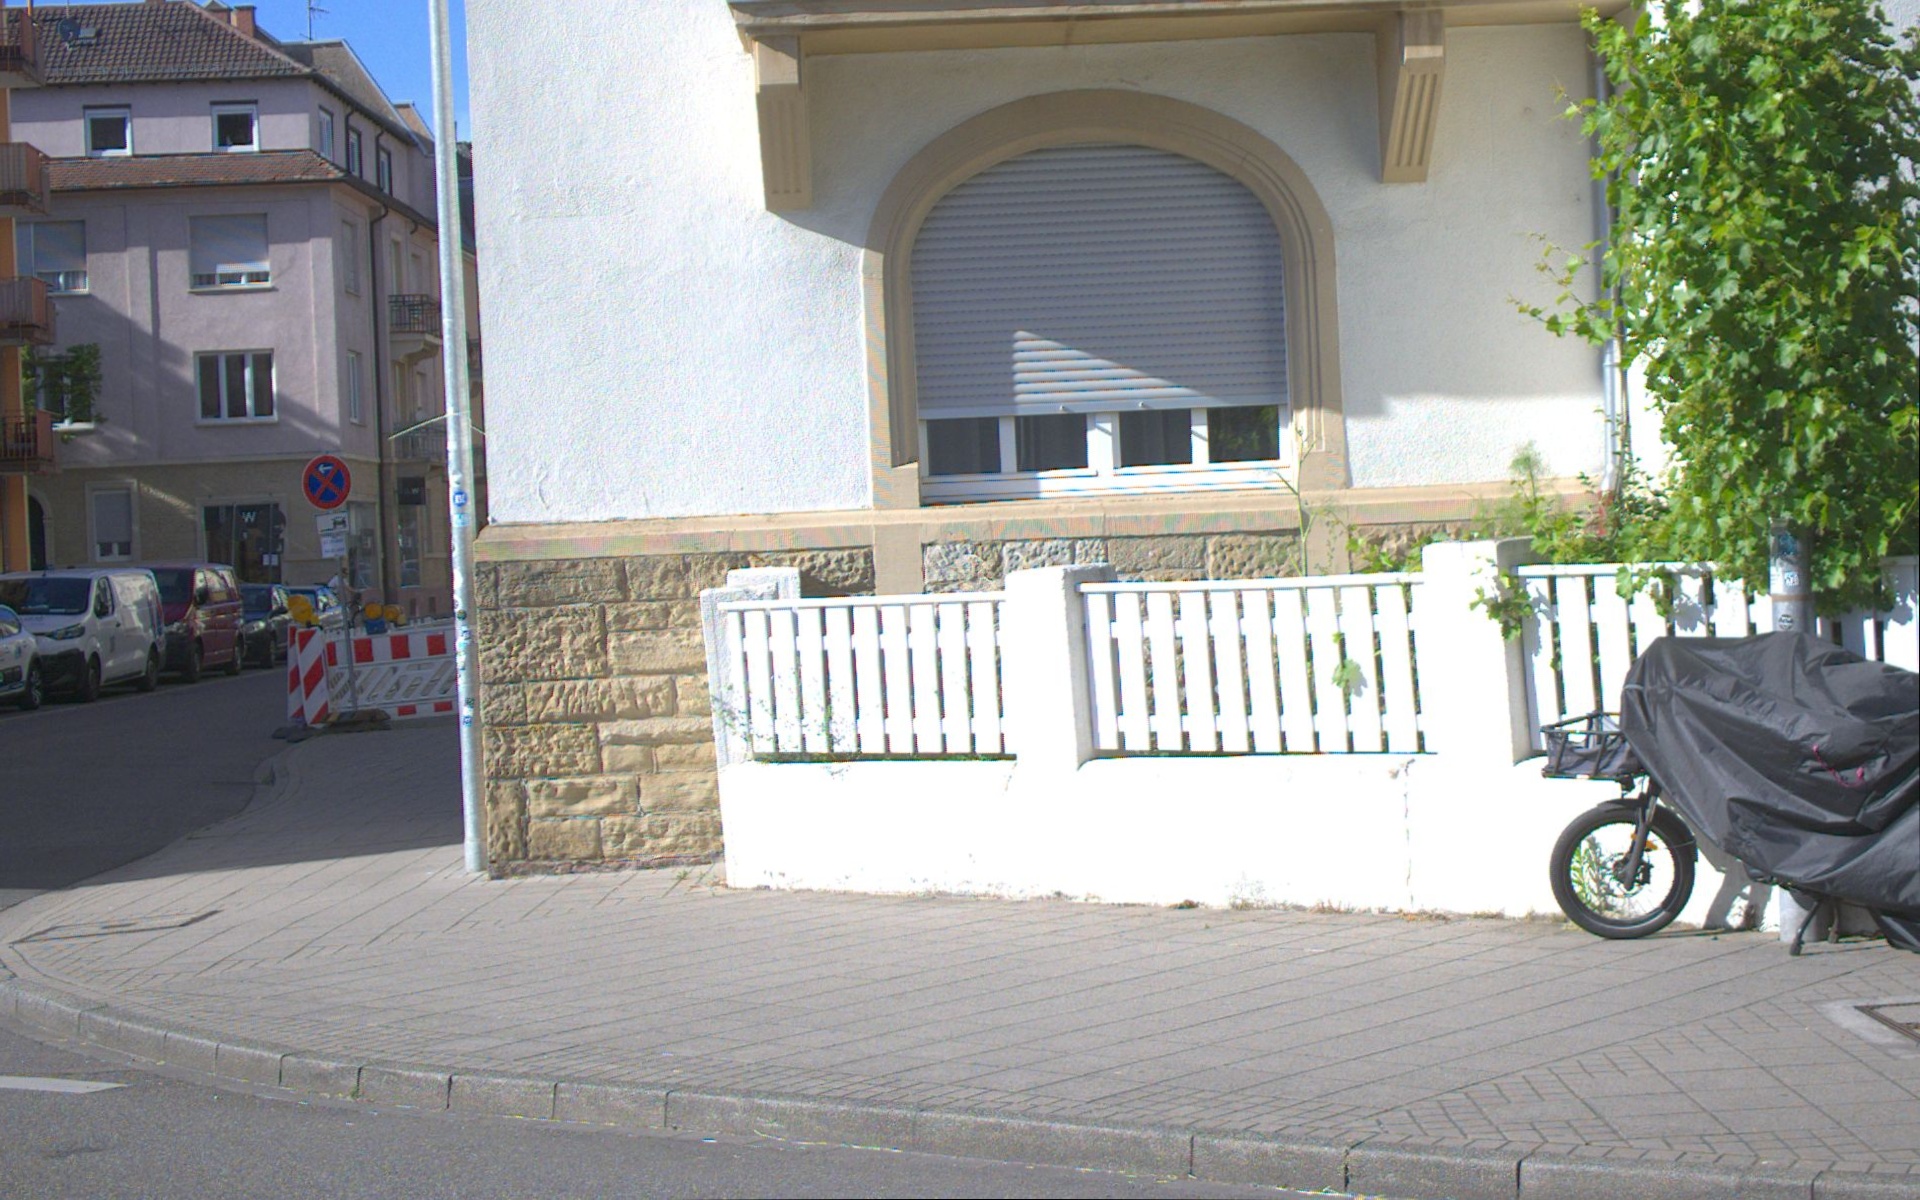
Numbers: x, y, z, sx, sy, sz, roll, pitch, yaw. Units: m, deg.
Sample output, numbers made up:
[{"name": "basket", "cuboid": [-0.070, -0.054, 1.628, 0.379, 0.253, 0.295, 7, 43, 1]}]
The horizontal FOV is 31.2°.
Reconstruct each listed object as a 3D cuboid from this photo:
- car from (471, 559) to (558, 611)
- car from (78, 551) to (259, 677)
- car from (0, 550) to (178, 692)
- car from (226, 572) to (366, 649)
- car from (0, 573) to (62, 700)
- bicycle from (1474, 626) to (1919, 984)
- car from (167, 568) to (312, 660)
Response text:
[{"name": "car", "cuboid": [-12.324, -0.419, 95.293, 1.679, 1.421, 4.273, 0, 0, 3]}, {"name": "car", "cuboid": [-13.044, 0.187, 56.924, 1.762, 1.918, 4.935, -1, 1, 1]}, {"name": "car", "cuboid": [-13.134, 0.260, 50.537, 1.975, 1.918, 5.309, -1, 1, 1]}, {"name": "car", "cuboid": [-13.035, 0.176, 67.711, 1.763, 1.373, 4.478, -1, 1, 1]}, {"name": "car", "cuboid": [-13.313, 0.493, 45.265, 1.762, 1.615, 4.295, -1, 1, 1]}, {"name": "bicycle", "cuboid": [2.973, 0.681, 11.994, 2.284, 1.153, 0.765, -1, 1, 43]}, {"name": "car", "cuboid": [-13.063, 0.234, 62.554, 1.762, 1.497, 4.000, -3, 1, 0]}]
